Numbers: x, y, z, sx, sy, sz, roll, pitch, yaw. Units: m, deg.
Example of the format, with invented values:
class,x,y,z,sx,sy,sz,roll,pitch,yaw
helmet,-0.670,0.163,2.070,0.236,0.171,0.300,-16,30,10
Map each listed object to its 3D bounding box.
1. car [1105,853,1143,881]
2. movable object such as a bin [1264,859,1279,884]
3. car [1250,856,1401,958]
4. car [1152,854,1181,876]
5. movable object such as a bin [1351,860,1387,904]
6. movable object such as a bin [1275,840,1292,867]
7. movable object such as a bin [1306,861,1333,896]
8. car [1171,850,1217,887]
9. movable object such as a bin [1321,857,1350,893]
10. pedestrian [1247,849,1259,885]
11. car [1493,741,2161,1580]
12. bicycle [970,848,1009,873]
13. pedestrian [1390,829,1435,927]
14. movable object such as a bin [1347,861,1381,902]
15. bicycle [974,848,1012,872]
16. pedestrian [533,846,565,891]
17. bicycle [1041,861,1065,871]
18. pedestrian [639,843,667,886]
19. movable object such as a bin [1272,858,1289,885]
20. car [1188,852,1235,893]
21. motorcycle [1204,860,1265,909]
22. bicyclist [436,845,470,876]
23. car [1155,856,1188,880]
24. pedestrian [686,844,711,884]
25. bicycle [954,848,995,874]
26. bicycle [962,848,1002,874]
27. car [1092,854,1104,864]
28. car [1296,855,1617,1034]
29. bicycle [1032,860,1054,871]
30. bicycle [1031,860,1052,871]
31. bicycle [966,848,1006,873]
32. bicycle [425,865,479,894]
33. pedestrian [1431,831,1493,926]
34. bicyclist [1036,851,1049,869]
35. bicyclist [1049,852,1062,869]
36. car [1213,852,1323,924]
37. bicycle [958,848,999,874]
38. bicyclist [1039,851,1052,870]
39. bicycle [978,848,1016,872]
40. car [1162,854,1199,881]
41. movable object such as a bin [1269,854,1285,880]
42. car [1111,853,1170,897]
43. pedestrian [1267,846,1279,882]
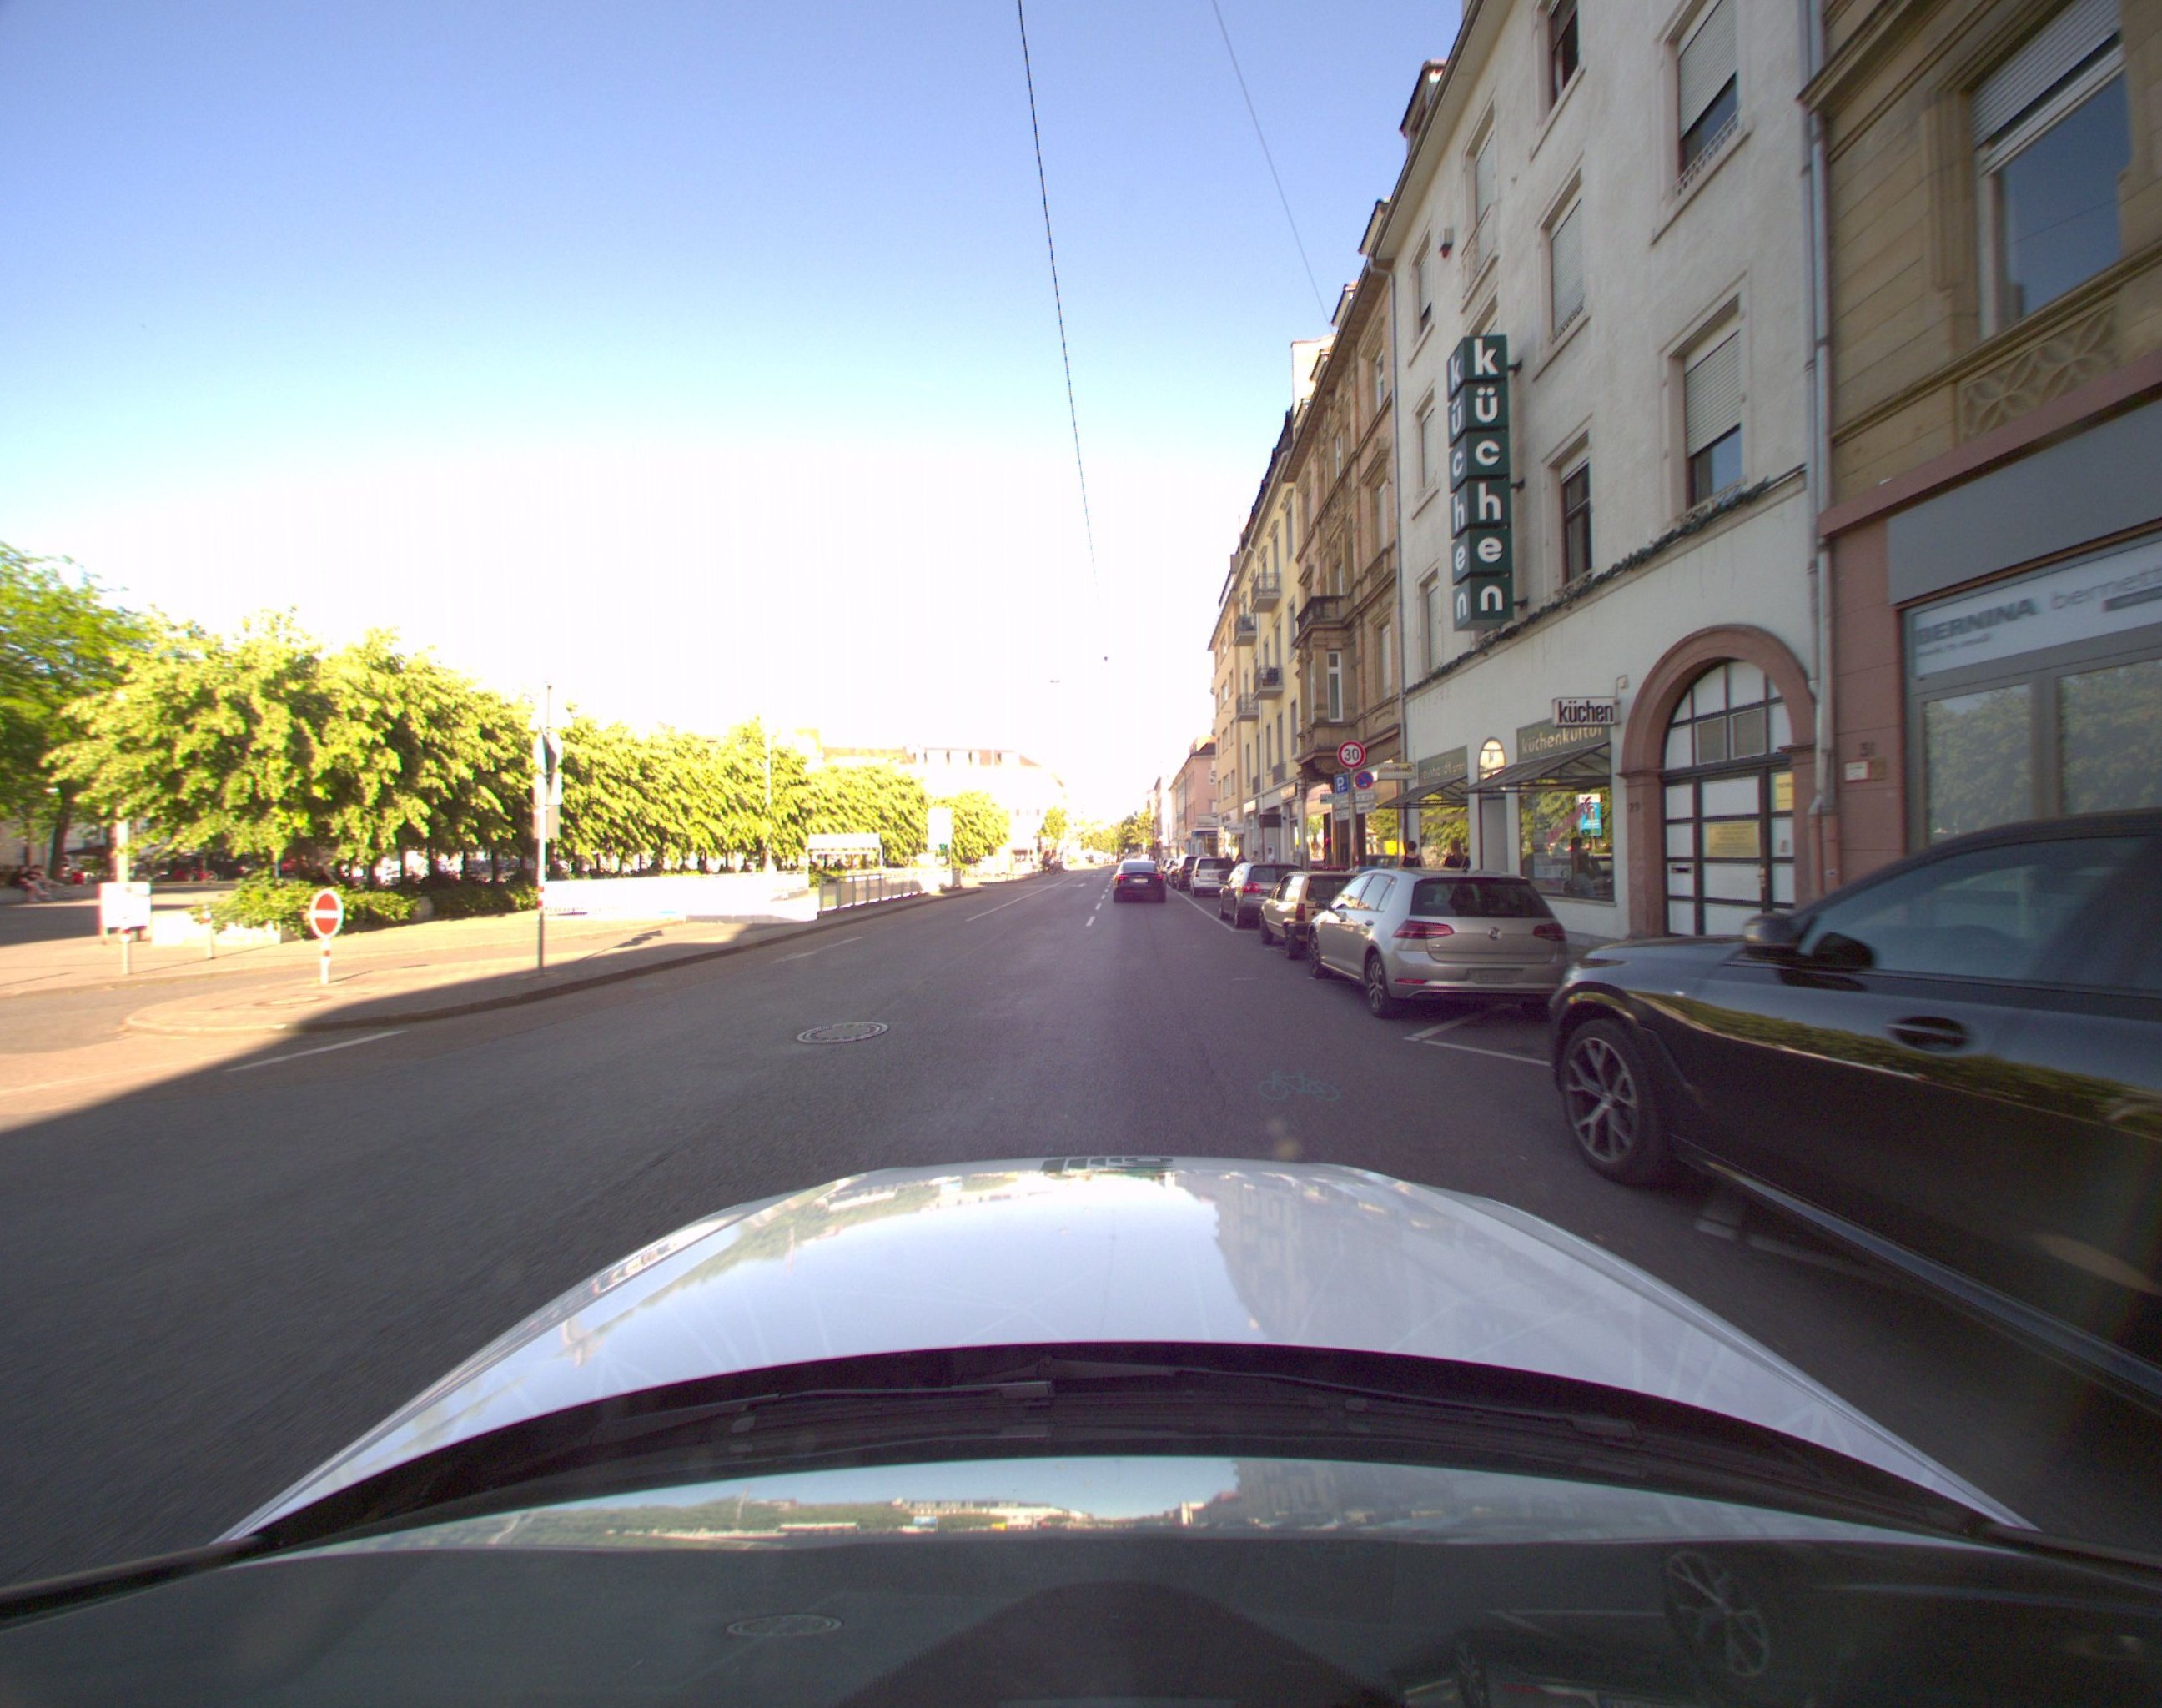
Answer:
class,x,y,z,sx,sy,sz,roll,pitch,yaw
car,2.439,0.694,45.293,1.926,1.487,4.277,-1,0,5
movable object such as a bin,8.138,0.751,34.805,0.453,1.052,0.500,-3,0,2
car,3.966,0.778,13.802,1.602,1.449,3.833,0,0,3
car,5.773,0.756,55.531,1.785,1.460,3.871,0,-1,3
movable object such as a bin,7.496,0.731,21.191,0.677,1.096,0.626,-3,0,2
movable object such as a bin,7.980,-0.021,32.161,0.477,1.052,0.632,-3,0,2
movable object such as a bin,7.720,0.775,26.399,0.641,1.076,0.820,-3,0,4
car,5.263,0.683,38.252,1.710,1.636,4.085,0,-1,1
movable object such as a bin,7.643,0.618,24.501,0.642,1.052,0.632,-3,0,2
pedestrian,7.798,0.589,36.914,0.466,1.635,0.516,-1,0,19
car,3.242,0.628,2.283,1.965,1.725,4.828,0,0,3
bicycle,-7.695,0.551,68.600,3.100,2.013,0.912,-1,0,12
pedestrian,6.165,0.440,15.146,0.617,1.766,0.519,-1,-1,5
movable object such as a bin,7.593,0.740,21.897,0.677,1.043,0.626,-3,0,2
bicycle,-7.524,0.540,69.632,3.100,2.013,0.912,-1,0,12
pedestrian,-24.823,0.670,38.009,0.725,2.108,0.973,-1,-1,25
bicycle,-2.746,1.191,80.394,2.232,0.883,0.925,-1,0,6
pedestrian,-21.439,0.529,40.817,0.725,2.108,0.973,-1,-1,25
movable object such as a bin,8.089,0.721,33.055,0.493,1.052,0.632,-3,0,2
car,5.160,0.714,32.417,1.606,1.546,2.858,0,0,4
motorcycle,4.487,0.859,23.736,2.055,1.328,0.648,-1,-1,-43
bicyclist,-34.969,0.373,45.346,0.962,1.700,1.210,-1,0,-2
car,5.645,0.875,51.390,1.785,1.460,3.869,0,-1,2
pedestrian,-20.631,0.546,43.956,0.725,2.108,0.973,-1,-1,25
bicycle,-8.445,0.586,64.549,3.100,2.013,0.912,-1,0,12
bicycle,-8.082,0.561,66.484,3.100,2.013,0.912,-1,0,12
car,3.269,0.923,153.534,1.984,1.772,4.005,0,1,4
car,3.742,0.770,9.025,1.831,1.487,4.188,0,0,3
bicycle,-3.501,1.043,75.406,2.005,1.022,0.887,-1,0,-1
bicycle,-3.774,1.089,78.176,2.005,1.022,0.762,-1,0,-1
bicycle,-7.856,0.567,67.522,3.100,2.013,0.912,-1,0,12
bicycle,-34.967,1.402,45.354,0.962,1.503,2.686,-1,0,-2
pedestrian,7.036,0.447,15.073,0.797,1.675,0.590,-3,-1,5
bicyclist,-3.674,0.613,78.181,1.142,1.686,0.819,-1,0,-1
bicyclist,-2.520,0.625,80.385,1.140,1.686,0.916,-1,0,6
car,4.357,0.722,19.585,1.831,1.546,4.231,0,0,2
bicycle,-8.277,0.576,65.500,3.100,2.013,0.912,-1,0,12
bicyclist,-3.294,0.595,75.406,1.142,1.686,0.919,-1,0,-1
bicycle,-7.308,0.540,70.667,3.100,2.013,0.912,-1,0,12
car,5.427,0.748,44.759,1.785,1.460,4.087,0,-1,3
movable object such as a bin,8.126,0.543,33.764,0.477,1.052,0.632,-3,0,2
car,2.086,0.758,29.610,1.988,1.480,4.497,0,-1,2
pedestrian,8.737,0.456,37.099,0.468,1.635,0.514,-1,0,8
